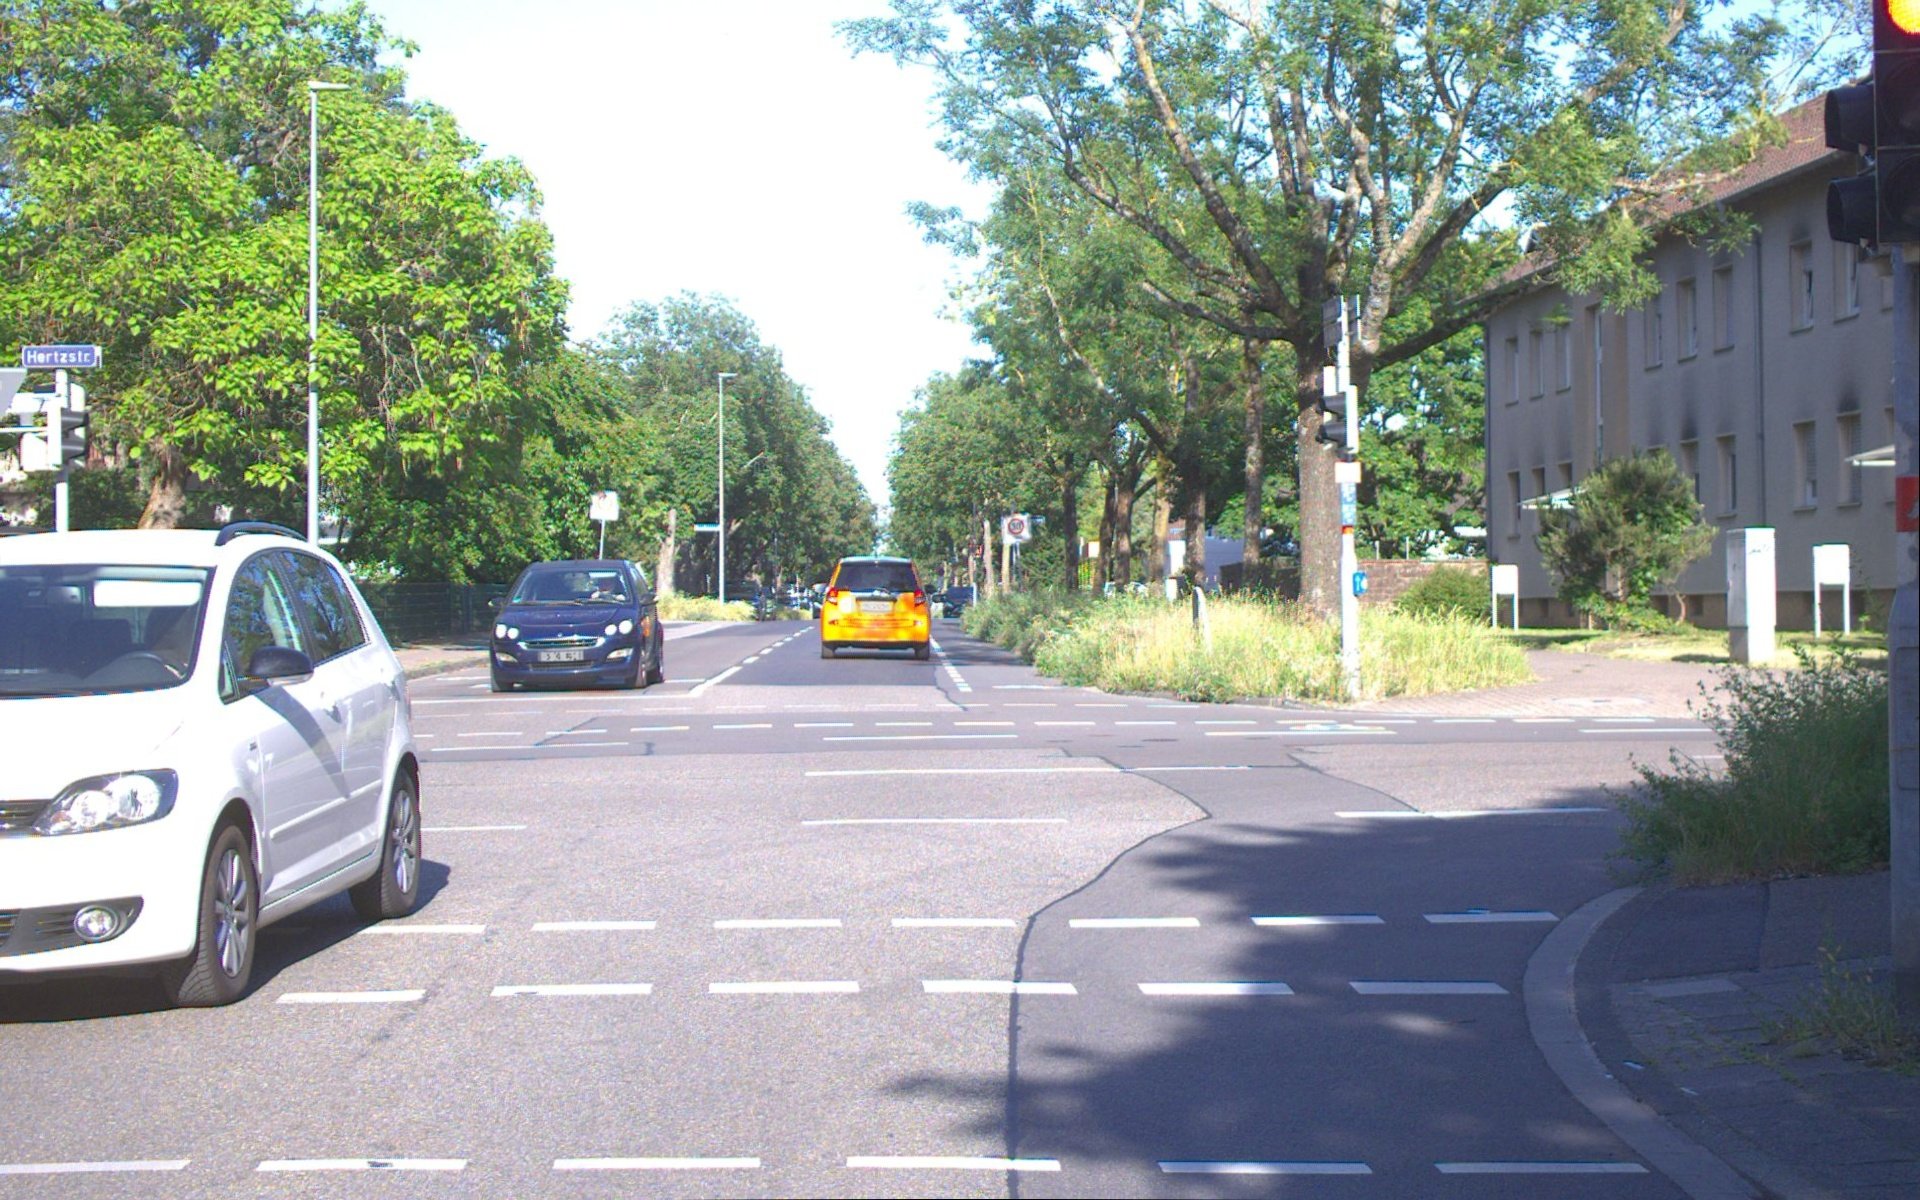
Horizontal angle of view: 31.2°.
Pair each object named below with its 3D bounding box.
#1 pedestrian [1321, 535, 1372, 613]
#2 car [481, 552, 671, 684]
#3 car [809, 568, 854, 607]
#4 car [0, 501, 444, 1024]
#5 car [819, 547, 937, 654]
[{"bbox_3d":[7.592,-0.520,67.567,0.842,1.488,0.924,2,1,-1],"label":"pedestrian"},{"bbox_3d":[-4.264,0.172,38.619,1.711,1.381,3.471,0,1,0],"label":"car"},{"bbox_3d":[-5.467,-0.536,146.611,1.758,1.619,3.268,0,1,0],"label":"car"},{"bbox_3d":[-3.162,0.480,12.406,1.752,1.558,4.120,-2,1,3],"label":"car"},{"bbox_3d":[-1.242,-0.008,53.583,1.751,1.577,4.000,1,0,0],"label":"car"}]
